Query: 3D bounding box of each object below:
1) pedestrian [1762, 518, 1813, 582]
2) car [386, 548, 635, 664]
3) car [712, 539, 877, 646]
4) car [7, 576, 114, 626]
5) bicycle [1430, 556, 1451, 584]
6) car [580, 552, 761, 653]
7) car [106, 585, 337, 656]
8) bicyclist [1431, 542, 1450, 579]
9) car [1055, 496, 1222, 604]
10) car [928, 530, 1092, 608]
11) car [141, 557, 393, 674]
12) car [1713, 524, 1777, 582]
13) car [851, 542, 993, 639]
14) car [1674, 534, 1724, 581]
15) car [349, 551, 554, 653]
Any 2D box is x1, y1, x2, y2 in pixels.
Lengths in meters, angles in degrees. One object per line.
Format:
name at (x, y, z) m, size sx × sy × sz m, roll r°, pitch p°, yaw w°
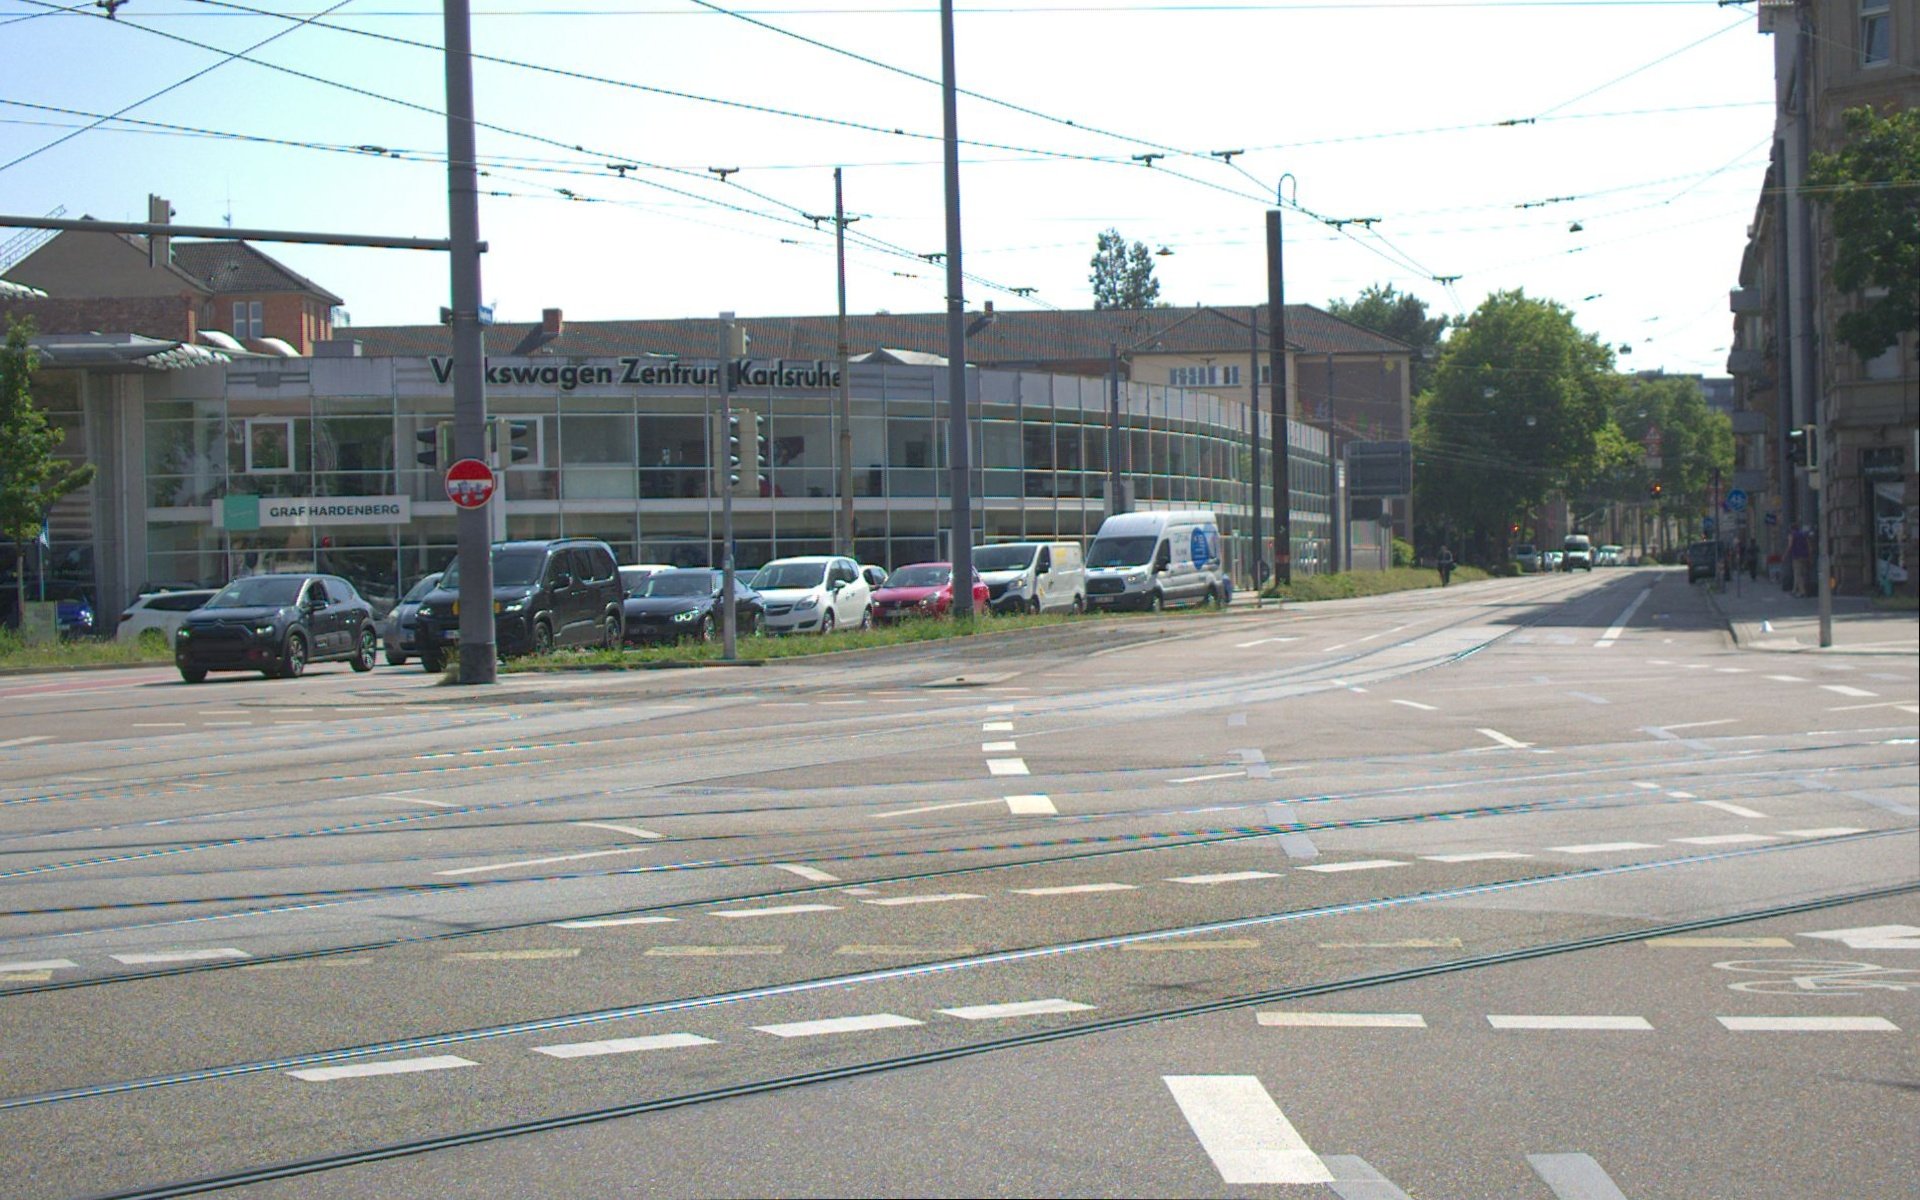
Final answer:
pedestrian at (18.827, -1.146, 78.206) m, size 0.886 × 1.428 × 0.711 m, roll -1°, pitch 1°, yaw 42°
car at (-6.519, 0.055, 50.400) m, size 1.962 × 1.582 × 4.713 m, roll -1°, pitch 1°, yaw 15°
car at (-3.056, -0.125, 64.384) m, size 1.895 × 1.910 × 4.197 m, roll -1°, pitch -1°, yaw 14°
car at (-22.256, 0.016, 85.210) m, size 1.830 × 1.191 × 4.000 m, roll 1°, pitch 0°, yaw -4°
bicycle at (20.768, -1.298, 148.550) m, size 0.752 × 1.190 × 2.837 m, roll 1°, pitch 0°, yaw 11°
car at (-4.755, 0.060, 57.021) m, size 1.895 × 1.582 × 3.998 m, roll -1°, pitch -1°, yaw 12°
car at (-15.671, 0.429, 72.977) m, size 4.587 × 1.431 × 1.443 m, roll 1°, pitch 0°, yaw 11°
bicyclist at (20.784, -1.699, 148.611) m, size 0.752 × 1.562 × 1.086 m, roll 1°, pitch 0°, yaw 11°
car at (4.507, -1.208, 85.823) m, size 2.211 × 2.567 × 5.867 m, roll 1°, pitch 0°, yaw 24°
car at (1.197, -0.725, 78.695) m, size 2.187 × 1.675 × 5.024 m, roll -1°, pitch 0°, yaw 20°
car at (-9.945, 0.224, 49.656) m, size 1.893 × 1.582 × 4.207 m, roll -1°, pitch -1°, yaw 15°
car at (28.489, -1.689, 124.839) m, size 1.994 × 2.007 × 3.998 m, roll 1°, pitch 0°, yaw 9°
car at (-0.746, -0.175, 71.375) m, size 1.895 × 1.910 × 4.197 m, roll -1°, pitch -1°, yaw 14°
car at (32.856, -1.894, 152.890) m, size 2.110 × 2.007 × 3.998 m, roll 1°, pitch 0°, yaw 12°
car at (-8.307, 0.051, 56.535) m, size 1.895 × 1.582 × 3.997 m, roll -1°, pitch -1°, yaw 15°
